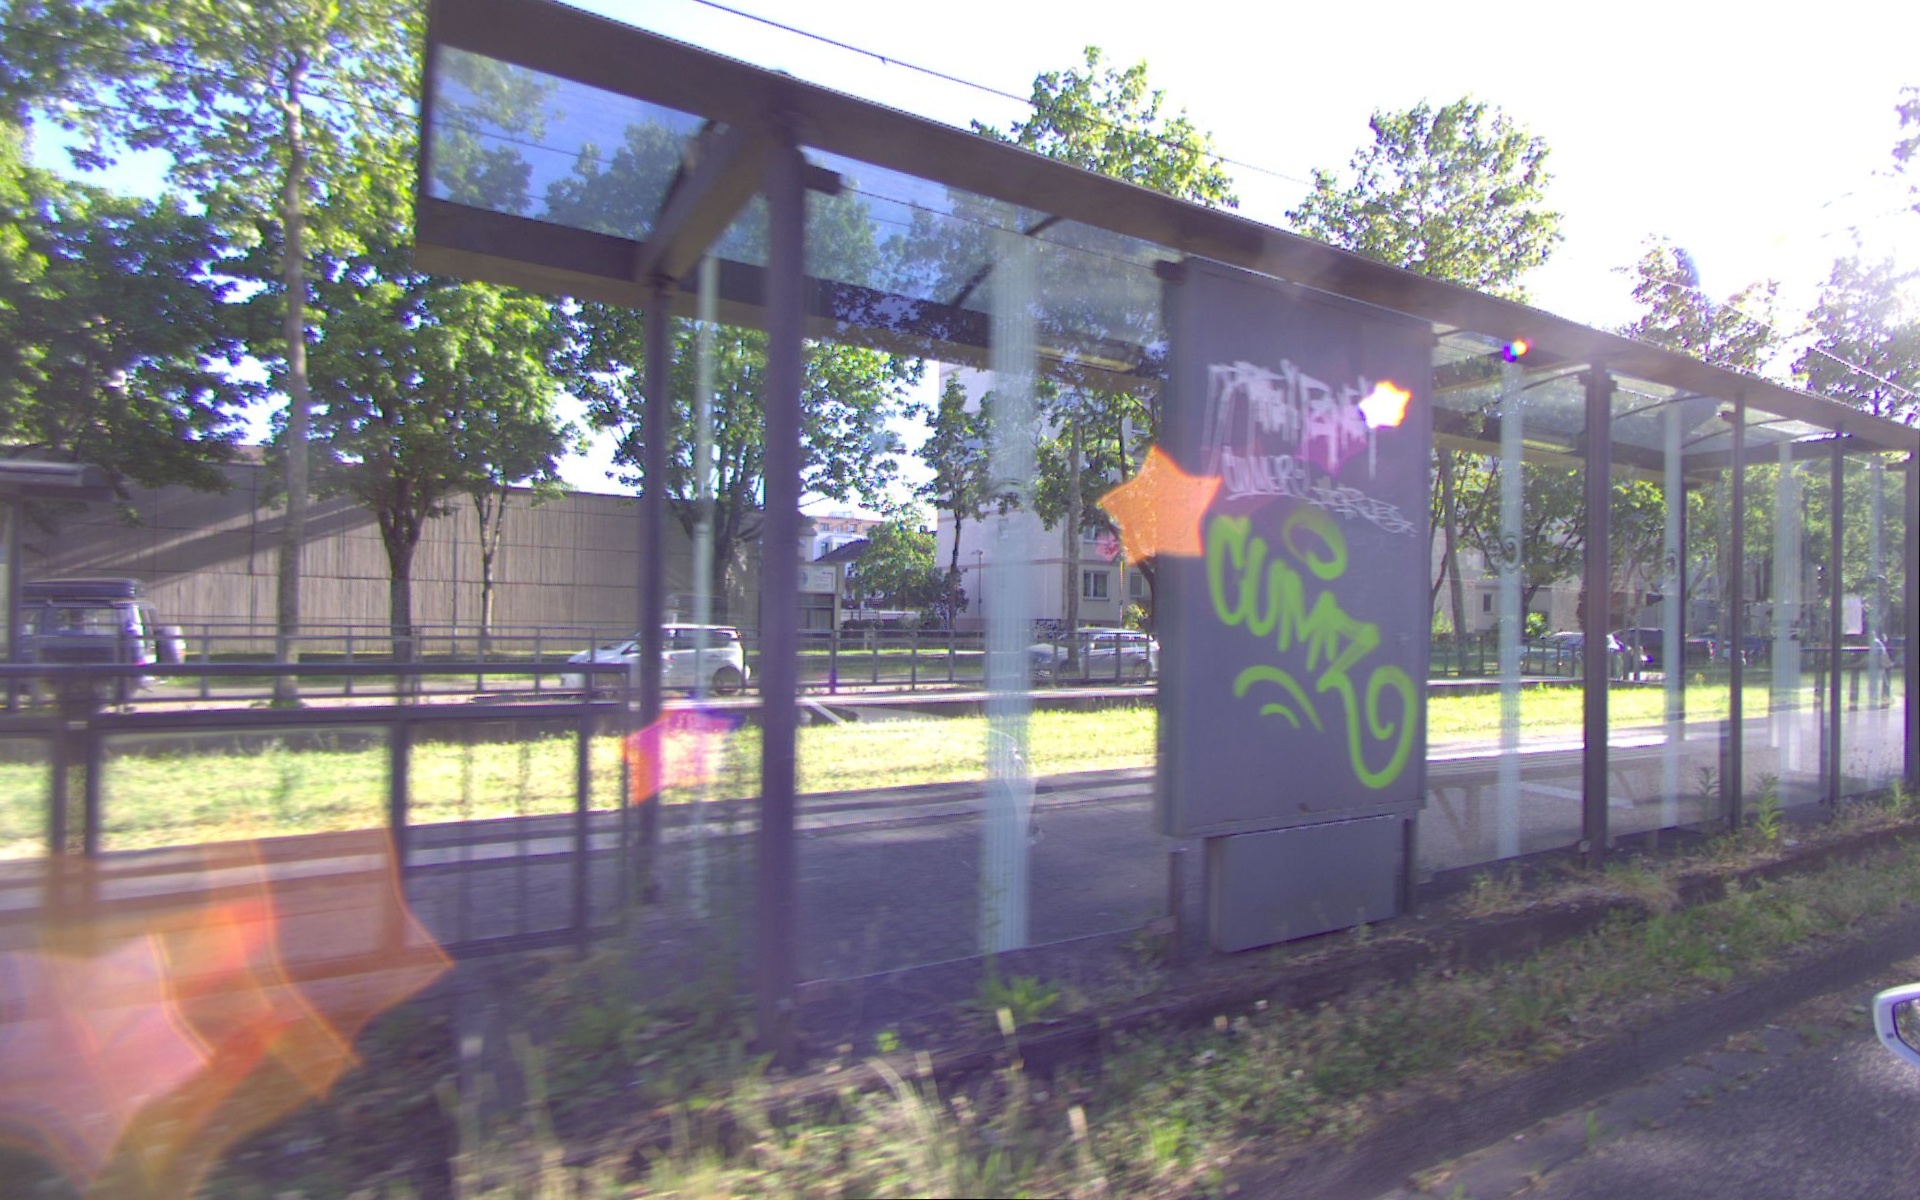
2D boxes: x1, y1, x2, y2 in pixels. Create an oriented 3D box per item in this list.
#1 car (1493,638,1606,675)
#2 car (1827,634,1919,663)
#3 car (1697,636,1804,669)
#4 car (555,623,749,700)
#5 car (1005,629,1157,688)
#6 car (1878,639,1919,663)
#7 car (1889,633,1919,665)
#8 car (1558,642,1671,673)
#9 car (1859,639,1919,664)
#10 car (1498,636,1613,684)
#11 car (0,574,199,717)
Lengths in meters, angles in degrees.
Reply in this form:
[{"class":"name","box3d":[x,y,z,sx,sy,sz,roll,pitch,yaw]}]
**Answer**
[{"class":"car","box3d":[24.943,2.380,42.626,3.747,1.454,1.842,0,-1,10]},{"class":"car","box3d":[55.282,2.919,60.689,4.004,1.667,1.652,0,-3,18]},{"class":"car","box3d":[40.872,2.692,52.022,4.002,1.496,1.652,0,3,13]},{"class":"car","box3d":[-6.820,1.316,22.297,3.884,1.566,1.707,1,-2,-28]},{"class":"car","box3d":[3.502,1.644,28.899,4.150,1.566,1.706,1,-2,-30]},{"class":"car","box3d":[61.607,3.277,64.182,4.004,1.451,1.580,0,-1,18]},{"class":"car","box3d":[64.399,3.216,65.899,4.705,2.033,1.892,0,0,22]},{"class":"car","box3d":[28.415,2.468,43.728,3.749,1.263,1.841,0,-2,18]},{"class":"car","box3d":[58.197,3.156,61.746,4.004,1.502,1.652,0,-2,18]},{"class":"car","box3d":[20.606,2.038,34.725,3.885,1.566,1.707,1,-2,-29]},{"class":"car","box3d":[-15.473,0.756,17.021,3.889,2.292,1.705,1,-2,-32]}]
